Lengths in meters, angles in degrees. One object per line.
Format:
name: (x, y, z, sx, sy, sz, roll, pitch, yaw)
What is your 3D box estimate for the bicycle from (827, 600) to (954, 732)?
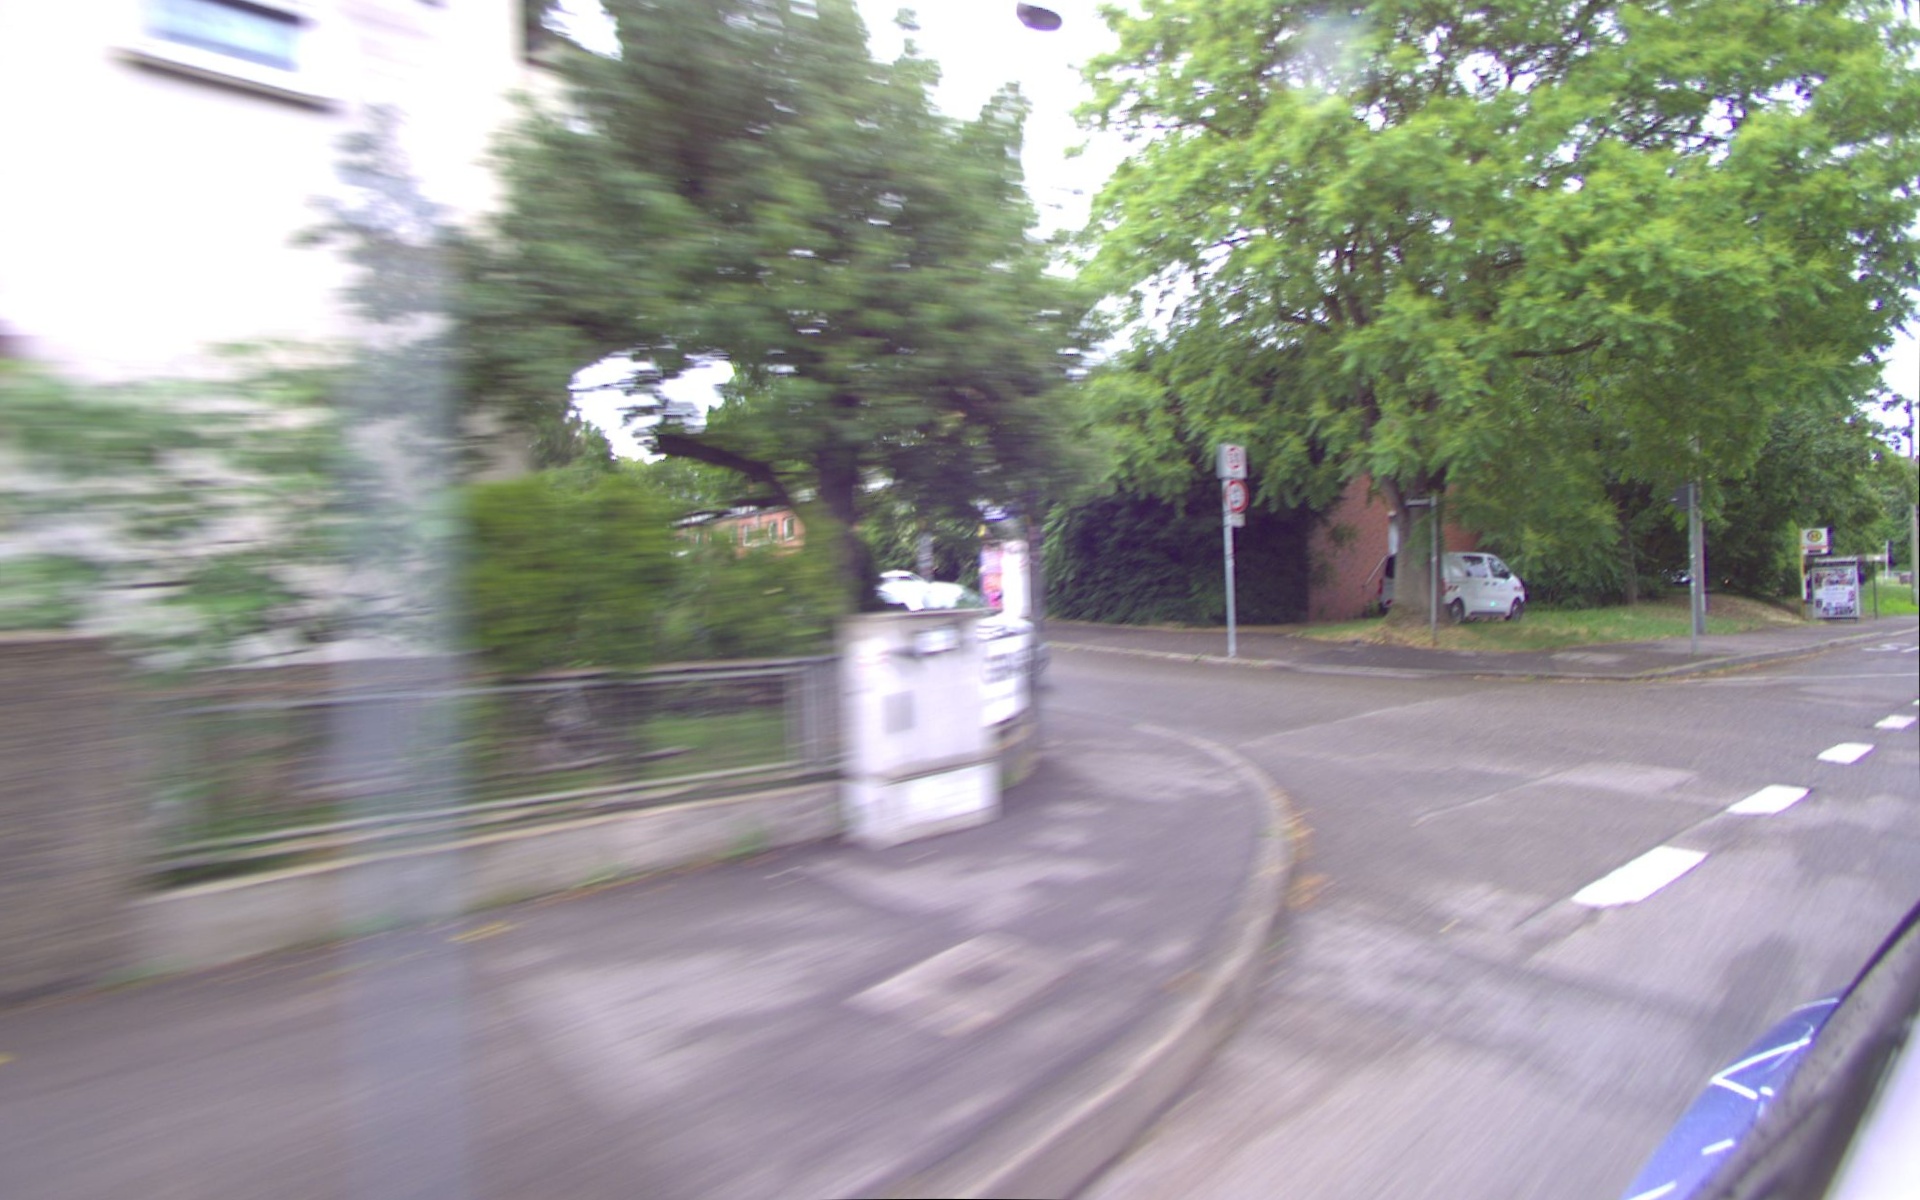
bicycle: (-0.693, 0.580, 9.655, 0.449, 1.129, 1.576, -1, 1, -36)

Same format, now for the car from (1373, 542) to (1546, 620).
car: (13.199, -0.497, 26.609, 5.053, 1.828, 1.998, -1, -1, -37)

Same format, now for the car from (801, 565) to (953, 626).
car: (-2.261, -0.149, 26.667, 1.676, 1.440, 4.356, -3, 3, -42)

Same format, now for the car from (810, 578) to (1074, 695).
car: (-0.380, 0.426, 14.957, 1.676, 1.440, 3.992, -4, 3, -42)
